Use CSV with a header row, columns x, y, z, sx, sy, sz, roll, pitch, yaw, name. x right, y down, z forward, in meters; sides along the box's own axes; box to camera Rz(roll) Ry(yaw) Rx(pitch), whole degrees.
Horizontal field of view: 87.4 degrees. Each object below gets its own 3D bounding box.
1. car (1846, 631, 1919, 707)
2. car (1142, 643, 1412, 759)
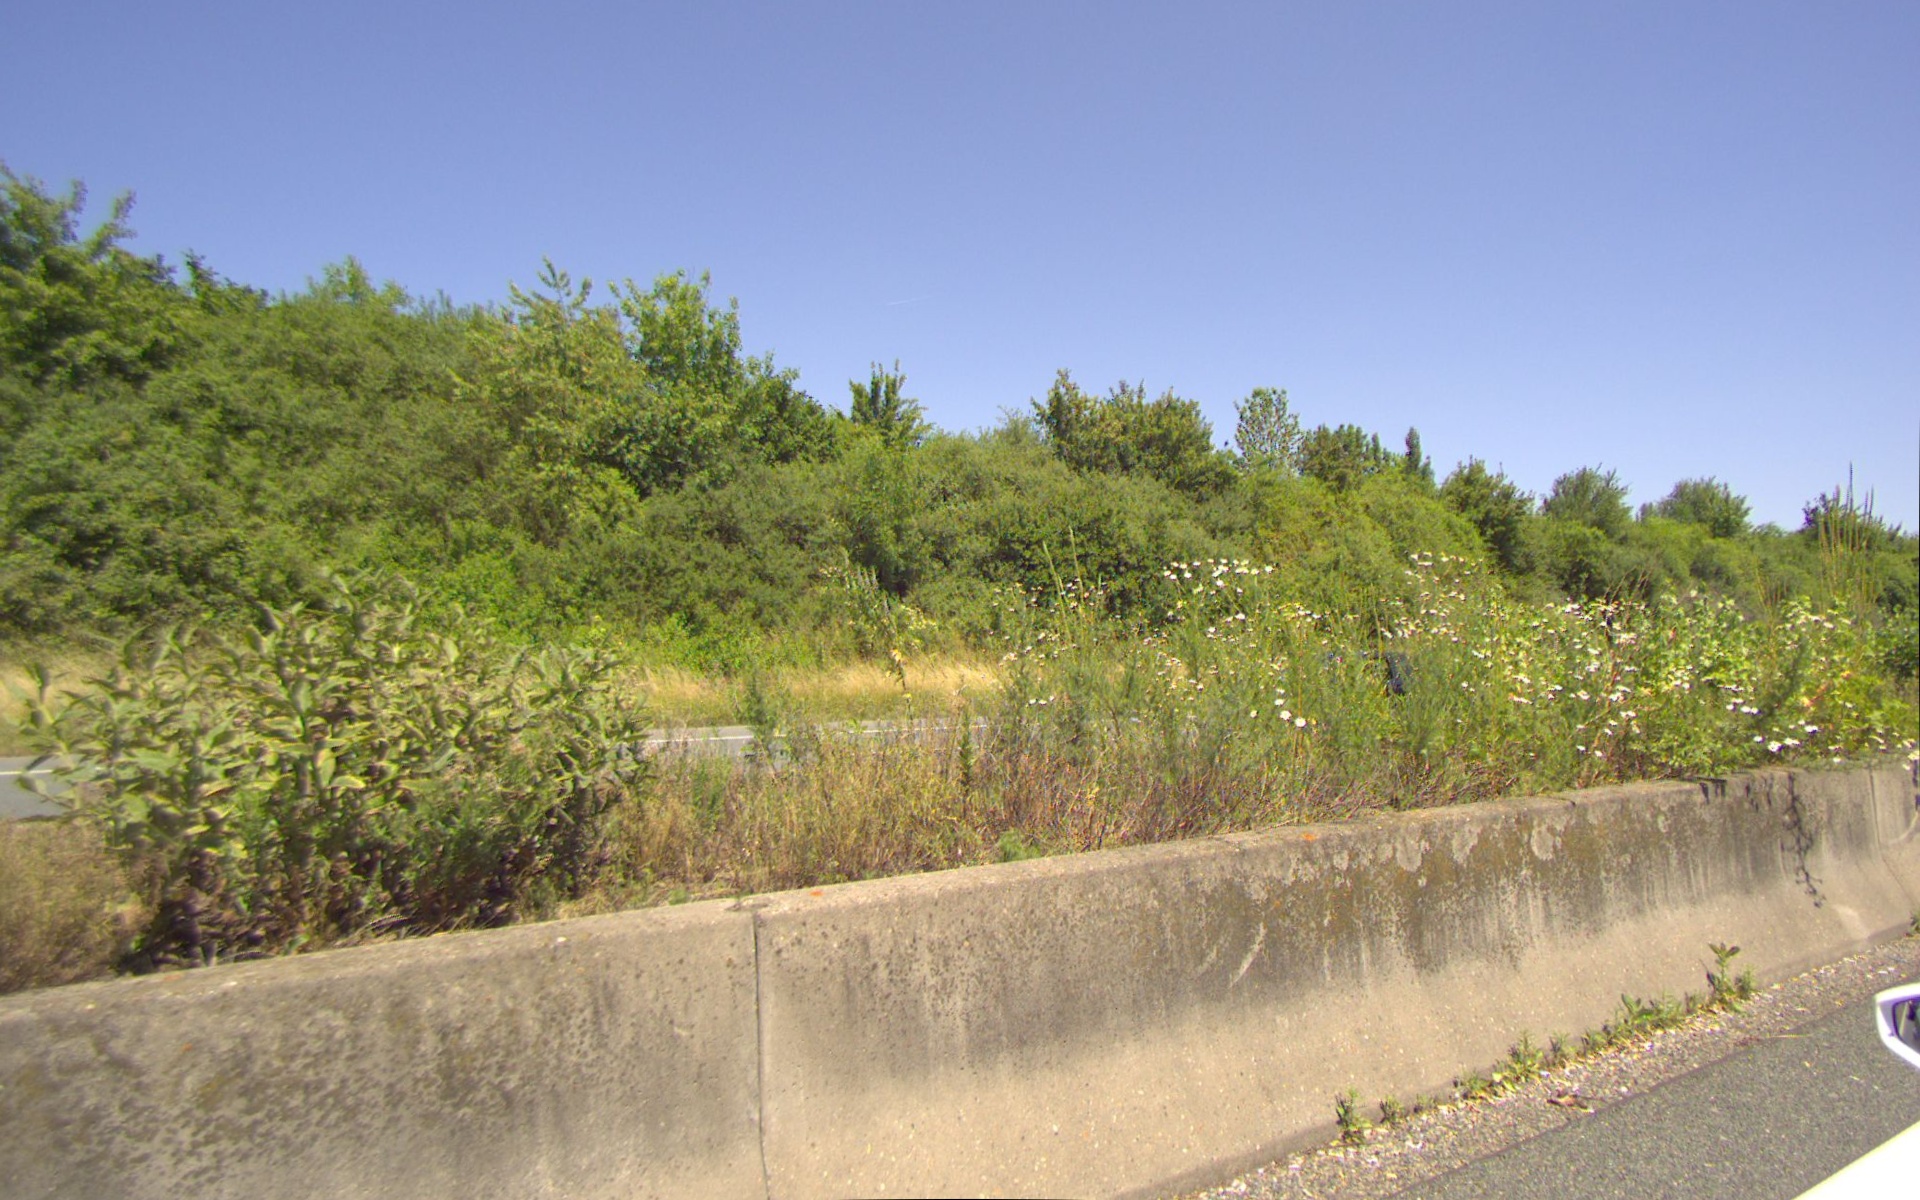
x,y,z,sx,sy,sz,roll,pitch,yaw,name
27.174,1.904,28.422,4.361,2.040,1.951,1,-2,-32,car
4.900,1.461,15.410,3.953,1.507,1.733,2,0,-30,car
